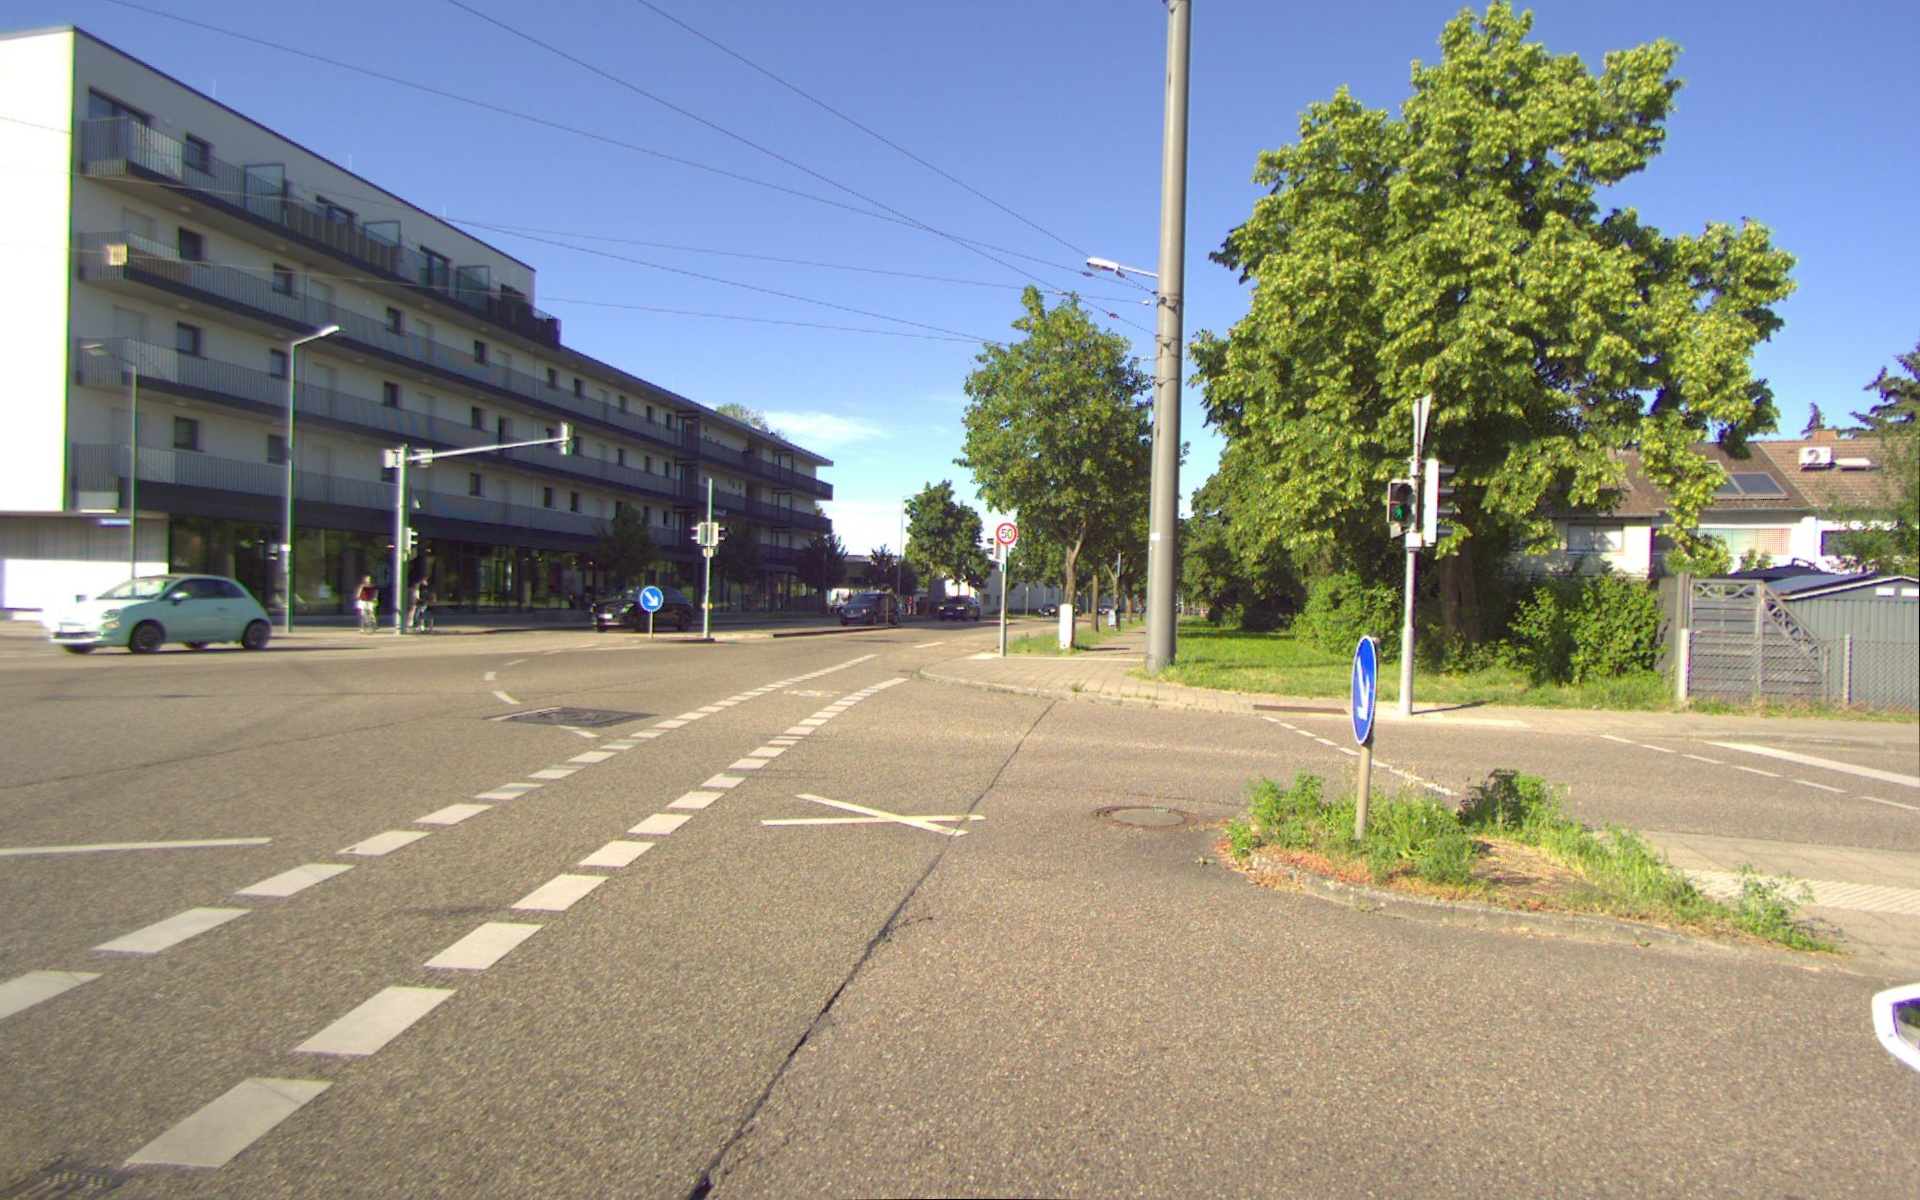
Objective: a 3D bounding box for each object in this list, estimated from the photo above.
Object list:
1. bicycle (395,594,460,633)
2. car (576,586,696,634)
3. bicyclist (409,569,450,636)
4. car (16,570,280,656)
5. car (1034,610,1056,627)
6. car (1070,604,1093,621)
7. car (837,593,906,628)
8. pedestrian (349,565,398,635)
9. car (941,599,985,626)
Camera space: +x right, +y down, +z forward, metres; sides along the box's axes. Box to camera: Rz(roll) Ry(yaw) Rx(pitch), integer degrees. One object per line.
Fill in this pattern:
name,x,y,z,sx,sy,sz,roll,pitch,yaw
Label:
bicycle,-16.604,0.428,31.355,1.610,1.159,0.745,1,0,1
car,-11.486,0.348,35.976,1.933,1.555,4.743,2,0,12
bicyclist,-16.556,0.082,31.353,0.779,2.040,0.811,1,0,1
car,-15.488,0.246,19.407,1.959,1.507,3.546,0,0,10
car,8.518,1.860,100.742,1.650,1.555,4.002,2,0,12
car,13.704,1.422,113.084,1.863,1.781,4.002,4,0,15
car,-4.312,0.531,49.615,1.960,1.592,4.001,1,0,18
pedestrian,-17.512,-0.004,29.990,0.960,2.040,0.761,1,0,8
car,0.253,0.840,70.194,1.959,1.760,5.202,1,0,12
